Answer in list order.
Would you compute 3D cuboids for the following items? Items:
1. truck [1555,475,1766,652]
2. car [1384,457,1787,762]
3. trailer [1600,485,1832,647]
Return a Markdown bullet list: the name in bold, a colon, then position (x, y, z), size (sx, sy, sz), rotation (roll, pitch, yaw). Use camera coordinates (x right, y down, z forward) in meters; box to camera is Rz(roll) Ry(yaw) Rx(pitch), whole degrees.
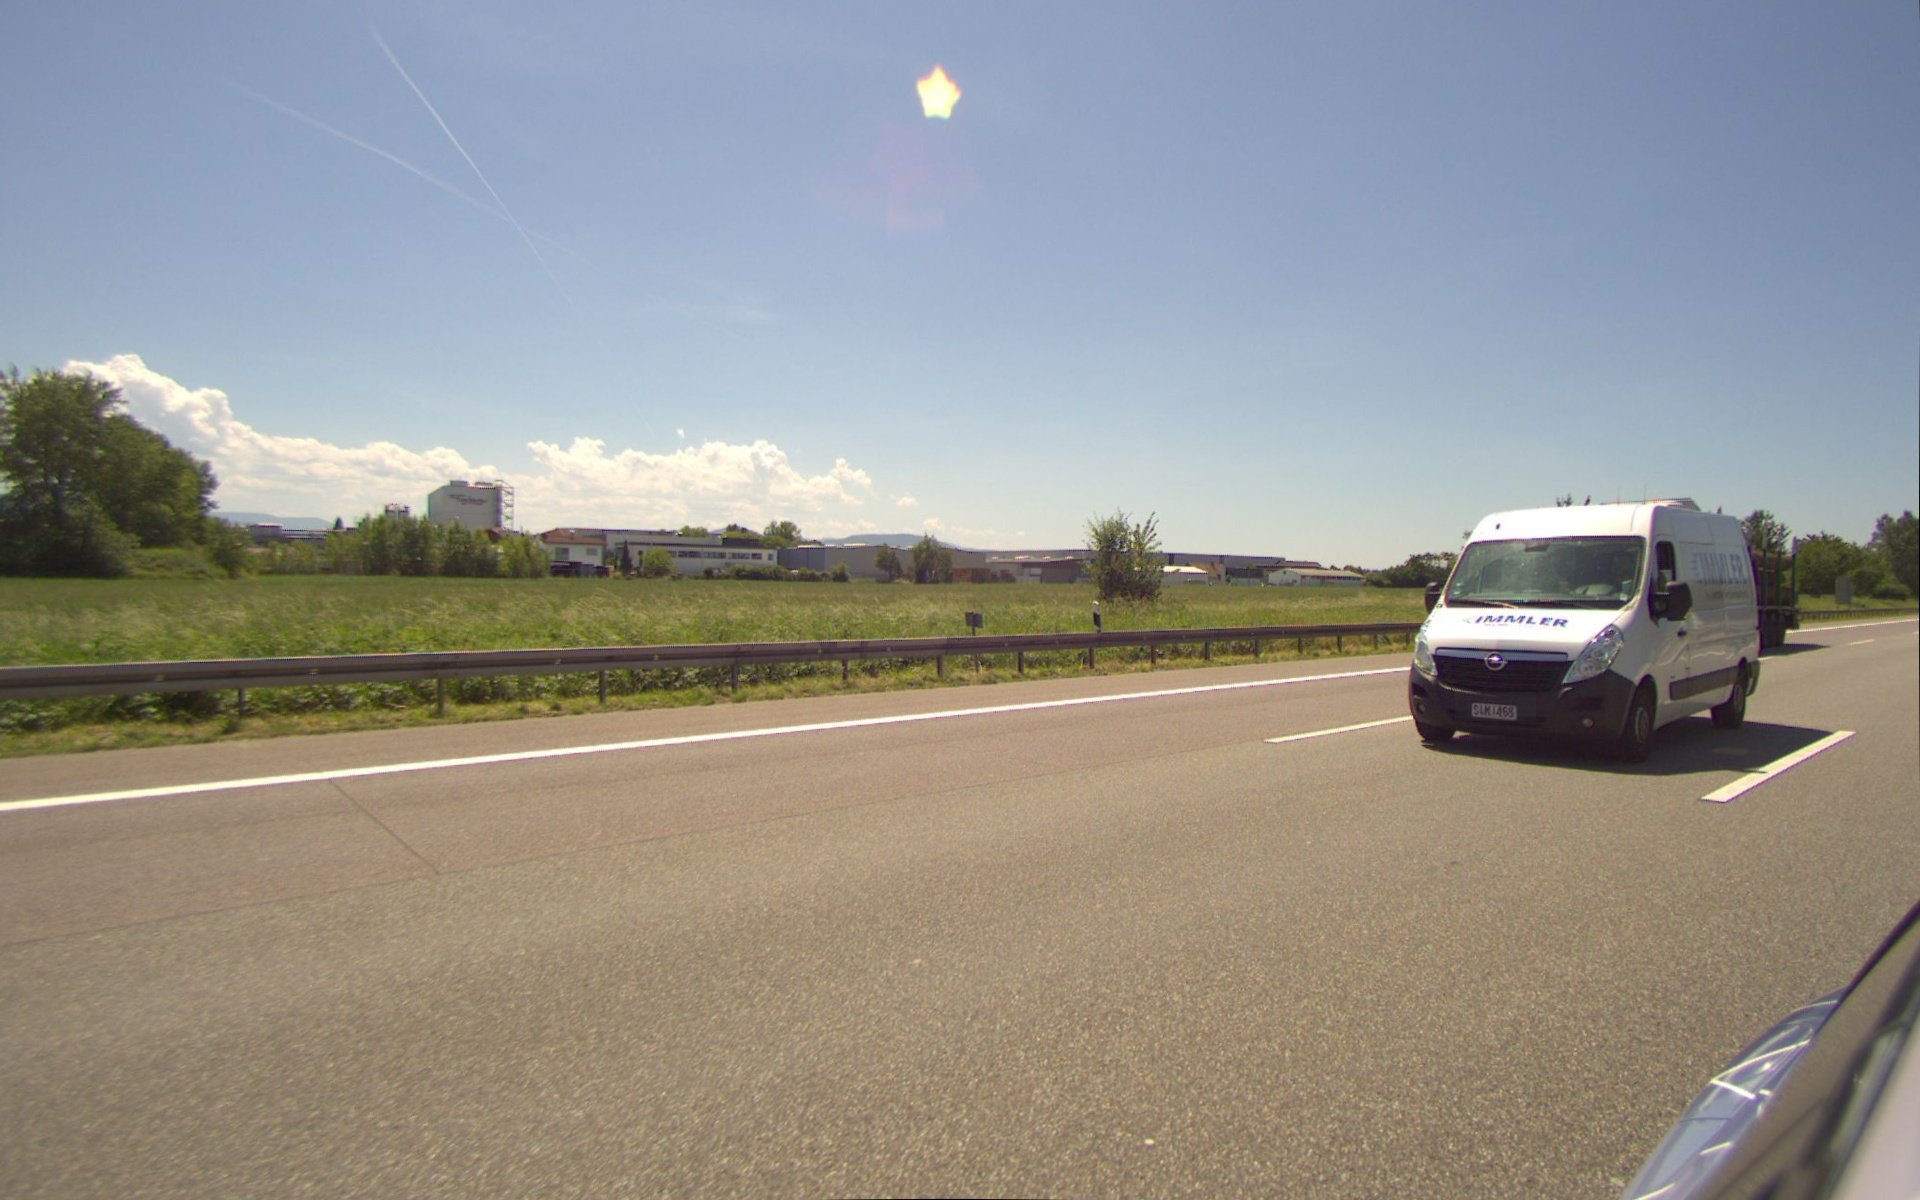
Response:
- **truck**: position (18.476, -0.838, 26.467), size (7.568, 4.016, 2.698), rotation (0, 0, -41)
- **car**: position (7.112, 0.049, 11.159), size (5.843, 2.540, 2.157), rotation (-1, 0, -41)
- **trailer**: position (23.207, -0.866, 30.544), size (13.715, 4.016, 2.698), rotation (0, 0, -41)
